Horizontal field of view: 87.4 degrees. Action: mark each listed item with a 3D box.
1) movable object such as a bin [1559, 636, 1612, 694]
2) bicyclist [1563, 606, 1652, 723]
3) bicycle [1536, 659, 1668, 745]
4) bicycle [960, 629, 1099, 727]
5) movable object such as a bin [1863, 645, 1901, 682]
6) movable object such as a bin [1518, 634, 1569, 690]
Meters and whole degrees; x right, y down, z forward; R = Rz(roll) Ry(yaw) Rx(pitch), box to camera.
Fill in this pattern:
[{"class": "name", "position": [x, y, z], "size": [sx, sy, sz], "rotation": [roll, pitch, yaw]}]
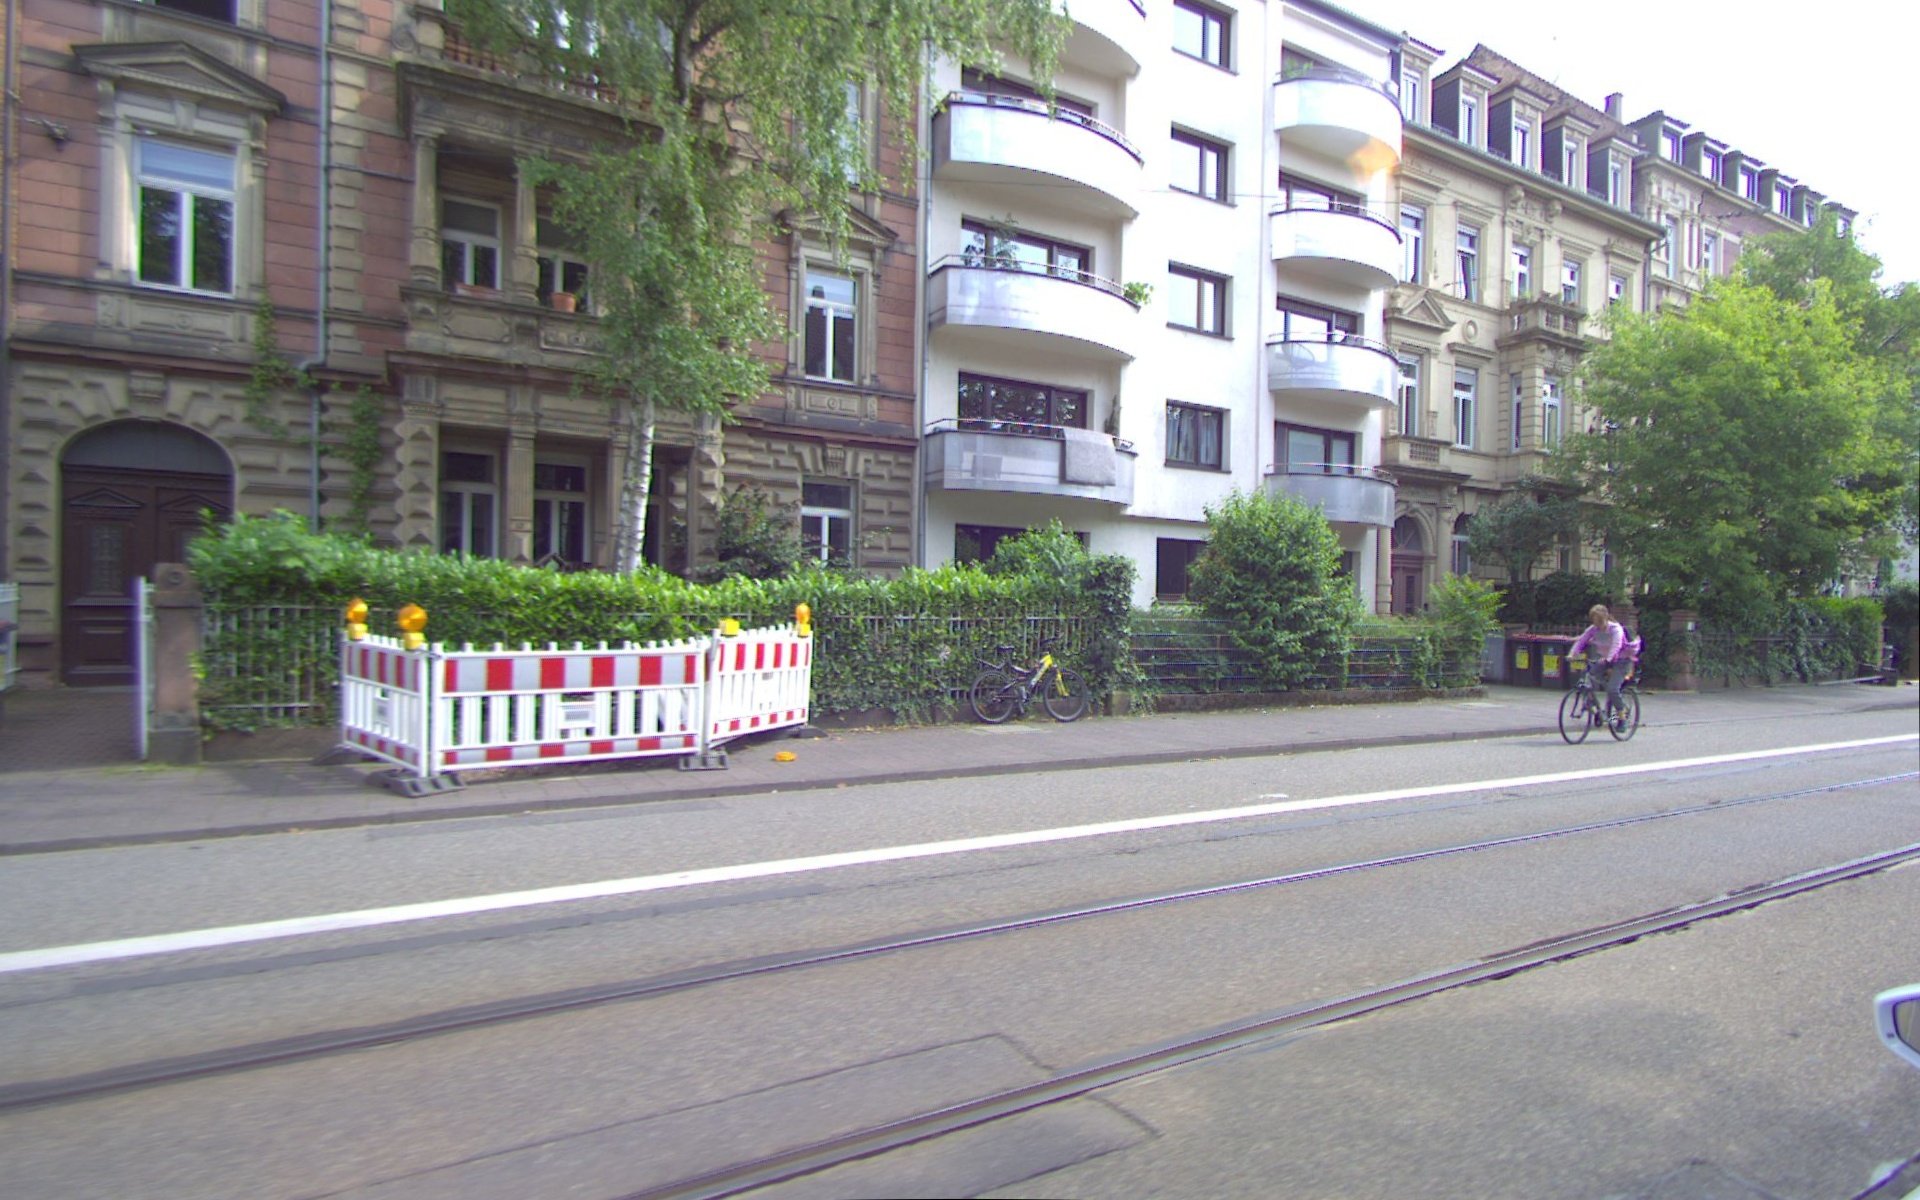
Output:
[{"class": "movable object such as a bin", "position": [12.470, 1.285, 20.025], "size": [0.726, 1.122, 0.663], "rotation": [2, -1, -33]}, {"class": "bicyclist", "position": [8.295, 0.812, 12.873], "size": [0.930, 1.444, 0.562], "rotation": [1, 0, -28]}, {"class": "bicycle", "position": [8.219, 1.278, 12.838], "size": [1.894, 1.002, 0.567], "rotation": [2, -1, -28]}, {"class": "bicycle", "position": [0.886, 0.948, 12.558], "size": [1.798, 1.152, 0.410], "rotation": [2, -1, -31]}, {"class": "movable object such as a bin", "position": [24.491, 1.673, 26.691], "size": [0.633, 0.937, 0.576], "rotation": [1, -1, -30]}, {"class": "movable object such as a bin", "position": [12.090, 1.280, 20.825], "size": [0.726, 1.122, 0.663], "rotation": [2, -1, -33]}]
